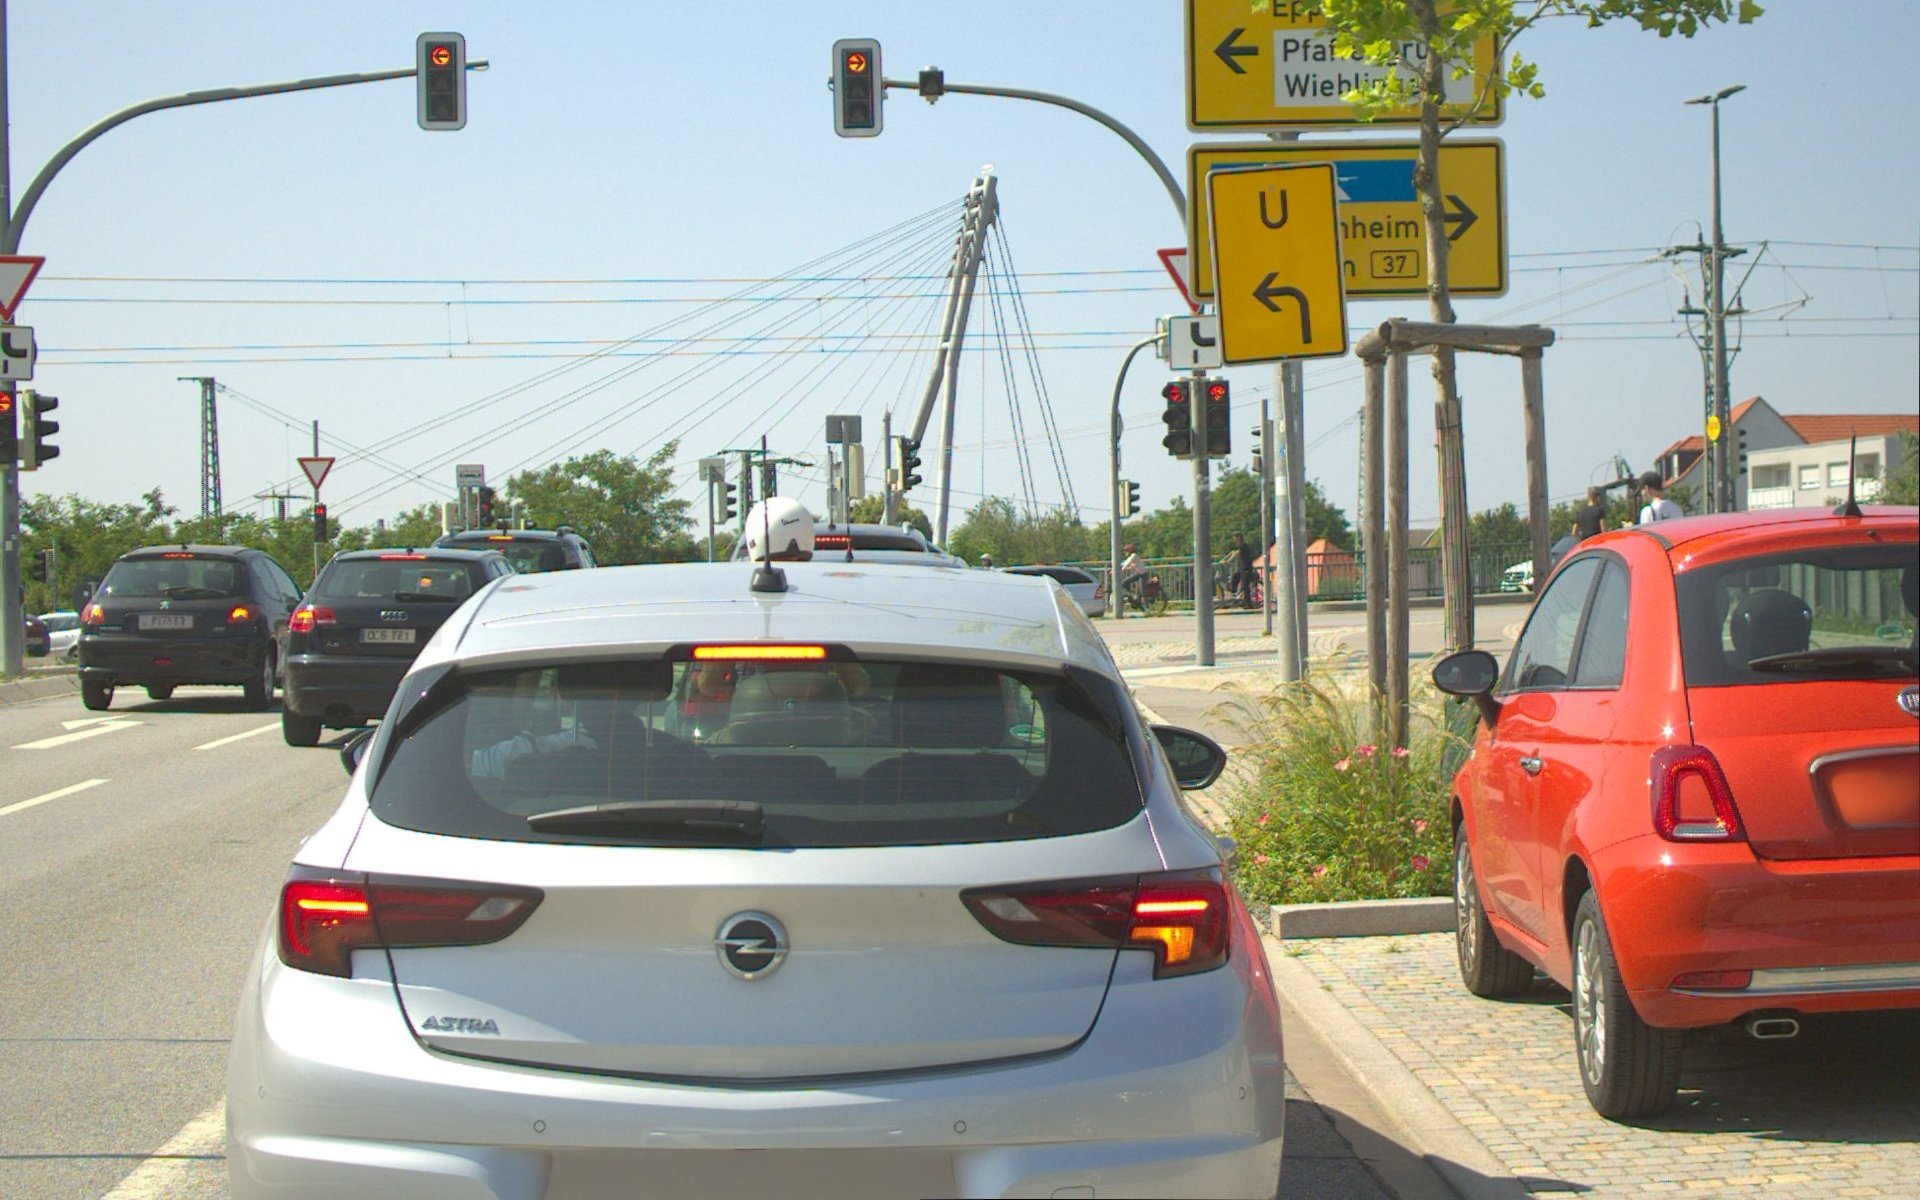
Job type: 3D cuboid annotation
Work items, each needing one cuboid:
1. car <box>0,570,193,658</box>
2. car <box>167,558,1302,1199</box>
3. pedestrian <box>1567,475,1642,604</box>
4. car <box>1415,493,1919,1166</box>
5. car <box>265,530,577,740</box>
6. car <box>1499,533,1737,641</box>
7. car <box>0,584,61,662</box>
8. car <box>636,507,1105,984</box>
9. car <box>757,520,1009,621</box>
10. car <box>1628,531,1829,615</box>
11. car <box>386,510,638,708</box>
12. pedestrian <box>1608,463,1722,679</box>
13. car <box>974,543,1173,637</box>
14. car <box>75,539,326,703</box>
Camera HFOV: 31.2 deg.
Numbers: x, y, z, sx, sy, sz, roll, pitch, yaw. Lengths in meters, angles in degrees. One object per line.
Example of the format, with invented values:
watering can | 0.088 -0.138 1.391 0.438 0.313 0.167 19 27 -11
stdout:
car | -20.162 0.318 80.289 3.992 2.007 1.997 0 0 25
car | -0.382 0.672 7.277 1.690 1.514 4.271 0 1 -1
pedestrian | 9.429 -0.877 50.271 0.740 1.857 0.753 1 0 -43
car | 2.391 0.481 10.012 1.669 1.534 3.917 -2 1 2
car | -3.943 0.241 25.731 1.705 1.407 4.000 1 0 0
car | 12.516 -0.257 65.455 3.986 2.007 2.001 0 0 -17
car | -19.386 0.403 65.979 3.993 1.450 1.682 1 0 27
car | -0.361 0.516 14.133 1.634 1.668 3.745 1 0 -1
car | -1.406 -0.544 63.255 4.547 1.777 2.000 1 0 0
car | 13.823 -0.488 61.893 3.143 1.434 1.586 1 0 -16
car | -4.062 0.072 31.731 1.803 1.616 3.917 -3 0 -1
pedestrian | 6.067 -0.246 29.621 0.758 1.823 0.885 1 0 -1
car | 2.529 -0.220 76.991 3.986 2.007 2.001 1 0 -16
car | -6.772 0.176 30.933 1.587 1.390 3.340 0 0 -1
